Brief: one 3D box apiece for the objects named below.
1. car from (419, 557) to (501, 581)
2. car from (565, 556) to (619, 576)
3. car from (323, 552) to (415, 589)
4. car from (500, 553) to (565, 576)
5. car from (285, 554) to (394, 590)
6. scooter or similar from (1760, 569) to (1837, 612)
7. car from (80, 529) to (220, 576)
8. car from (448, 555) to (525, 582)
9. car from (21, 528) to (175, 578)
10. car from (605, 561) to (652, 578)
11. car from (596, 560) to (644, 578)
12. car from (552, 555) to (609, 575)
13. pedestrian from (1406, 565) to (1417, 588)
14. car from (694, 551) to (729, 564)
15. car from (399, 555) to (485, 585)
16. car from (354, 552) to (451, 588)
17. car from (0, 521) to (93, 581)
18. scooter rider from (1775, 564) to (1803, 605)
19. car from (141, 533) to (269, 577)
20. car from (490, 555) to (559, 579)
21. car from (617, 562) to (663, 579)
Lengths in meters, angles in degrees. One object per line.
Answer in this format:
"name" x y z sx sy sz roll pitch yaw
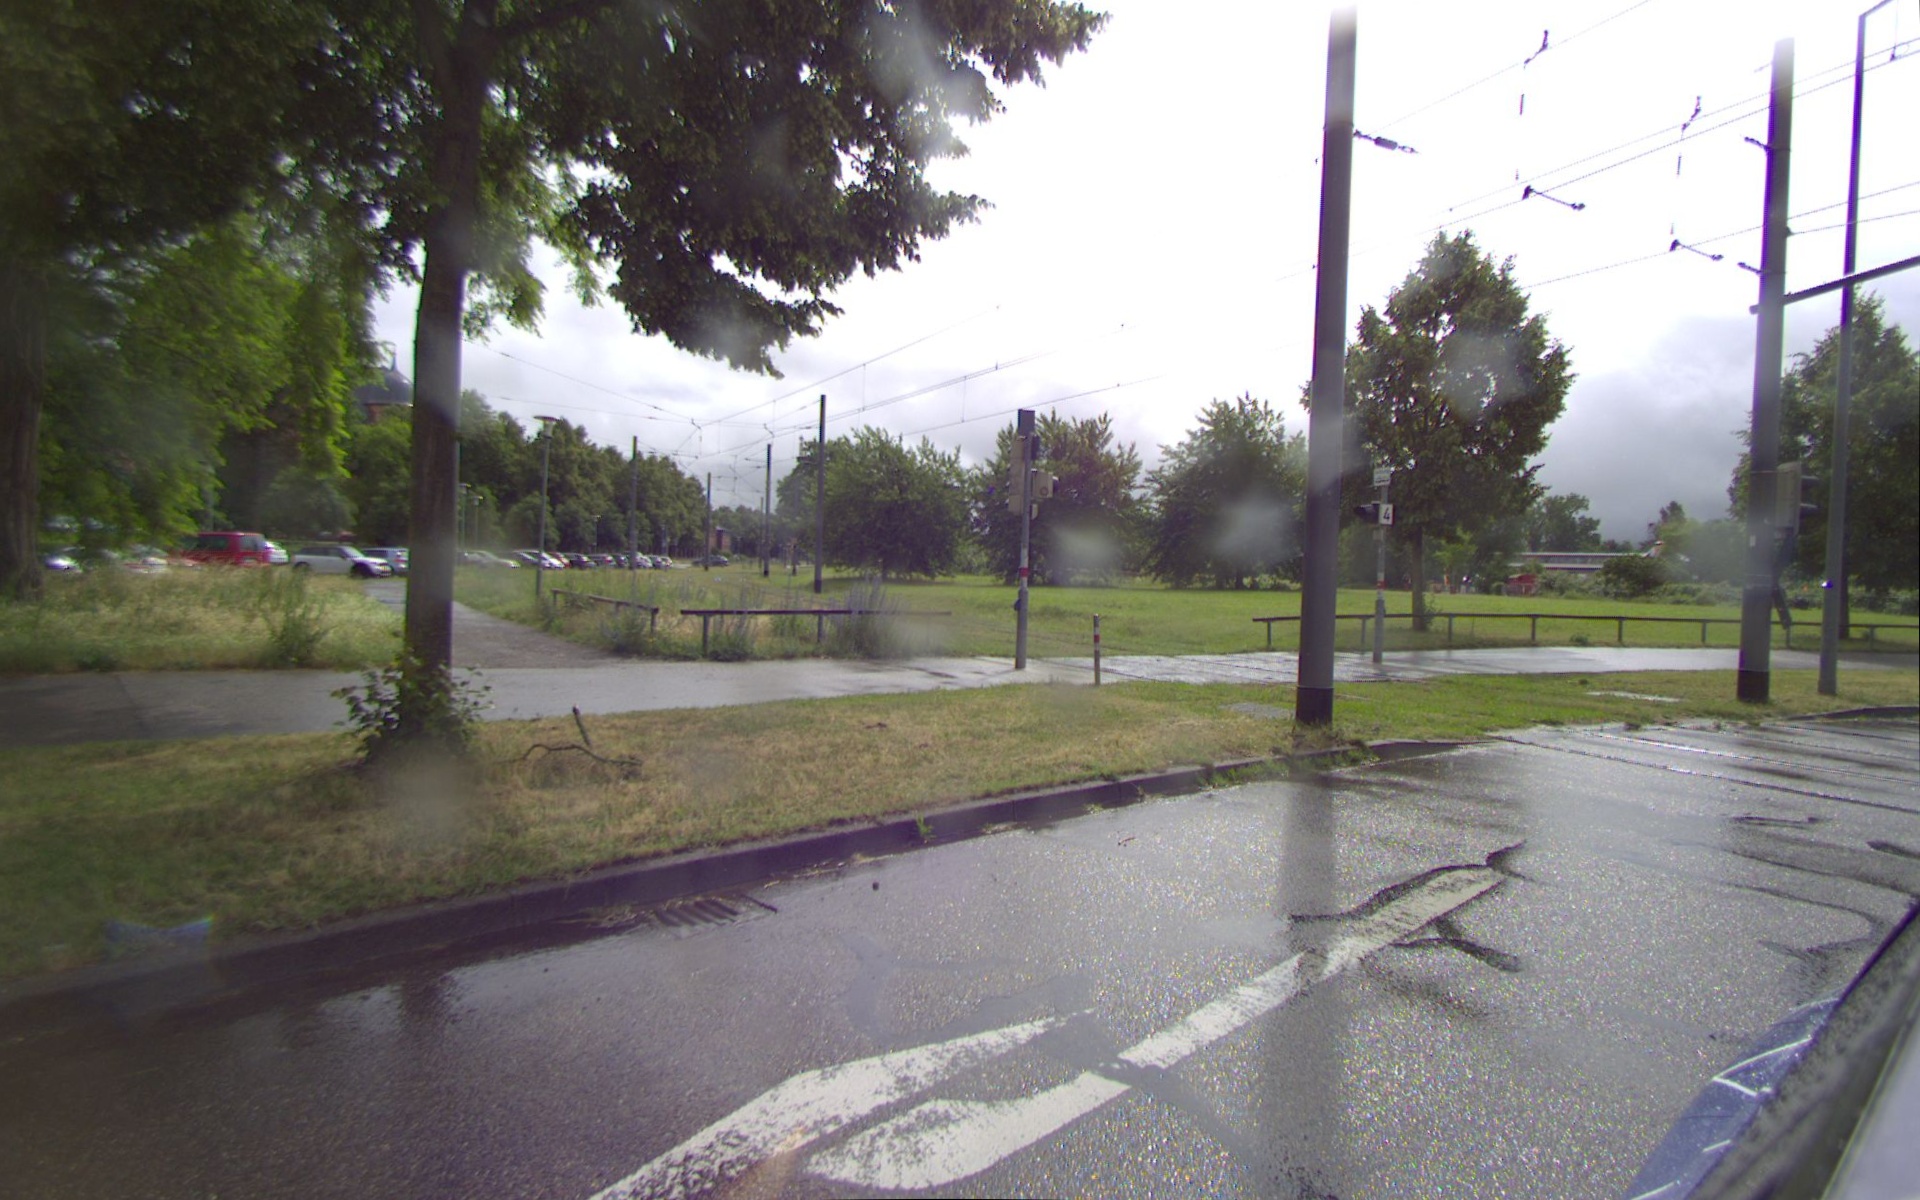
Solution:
"car" -29.394 -1.811 59.576 3.901 1.324 1.852 1 2 -2
"car" -30.674 -2.857 84.472 3.901 1.579 1.852 1 2 -2
"car" -28.830 -1.453 49.425 3.558 1.681 1.552 1 2 -2
"car" -30.667 -2.547 72.667 3.901 1.579 1.852 1 2 -2
"car" -28.800 -1.317 47.057 3.922 1.546 1.800 1 2 -2
"scooter or similar" 41.747 -0.443 50.461 1.219 2.039 3.402 2 0 7
"car" -27.896 -1.624 34.921 3.542 1.480 1.646 2 2 0
"car" -29.137 -1.964 62.361 3.901 1.579 1.852 1 2 -2
"car" -27.528 -1.494 32.400 3.542 1.480 1.646 2 2 0
"car" -31.349 -2.898 95.855 3.901 1.579 1.852 1 2 -2
"car" -31.467 -2.900 93.709 3.901 1.579 1.852 1 2 -2
"car" -30.373 -2.808 81.119 3.901 1.579 1.852 1 2 -2
"pedestrian" 36.288 -1.879 81.394 0.595 1.754 0.598 2 0 9
"car" -32.811 -5.654 133.681 4.318 1.579 1.852 1 2 -2
"car" -29.054 -1.718 56.859 3.901 1.579 1.852 1 2 -2
"car" -28.768 -1.564 52.343 3.923 1.735 2.001 1 2 -1
"car" -28.123 -1.475 30.010 3.582 1.679 1.550 2 2 1
"scooter rider" 41.896 -0.784 51.153 0.693 2.039 0.769 2 0 4
"car" -27.897 -1.663 37.454 3.583 1.529 1.649 2 2 3
"car" -29.719 -2.268 69.118 3.901 1.579 1.852 1 2 -2
"car" -31.086 -2.892 98.344 3.901 1.579 1.852 1 2 -2
